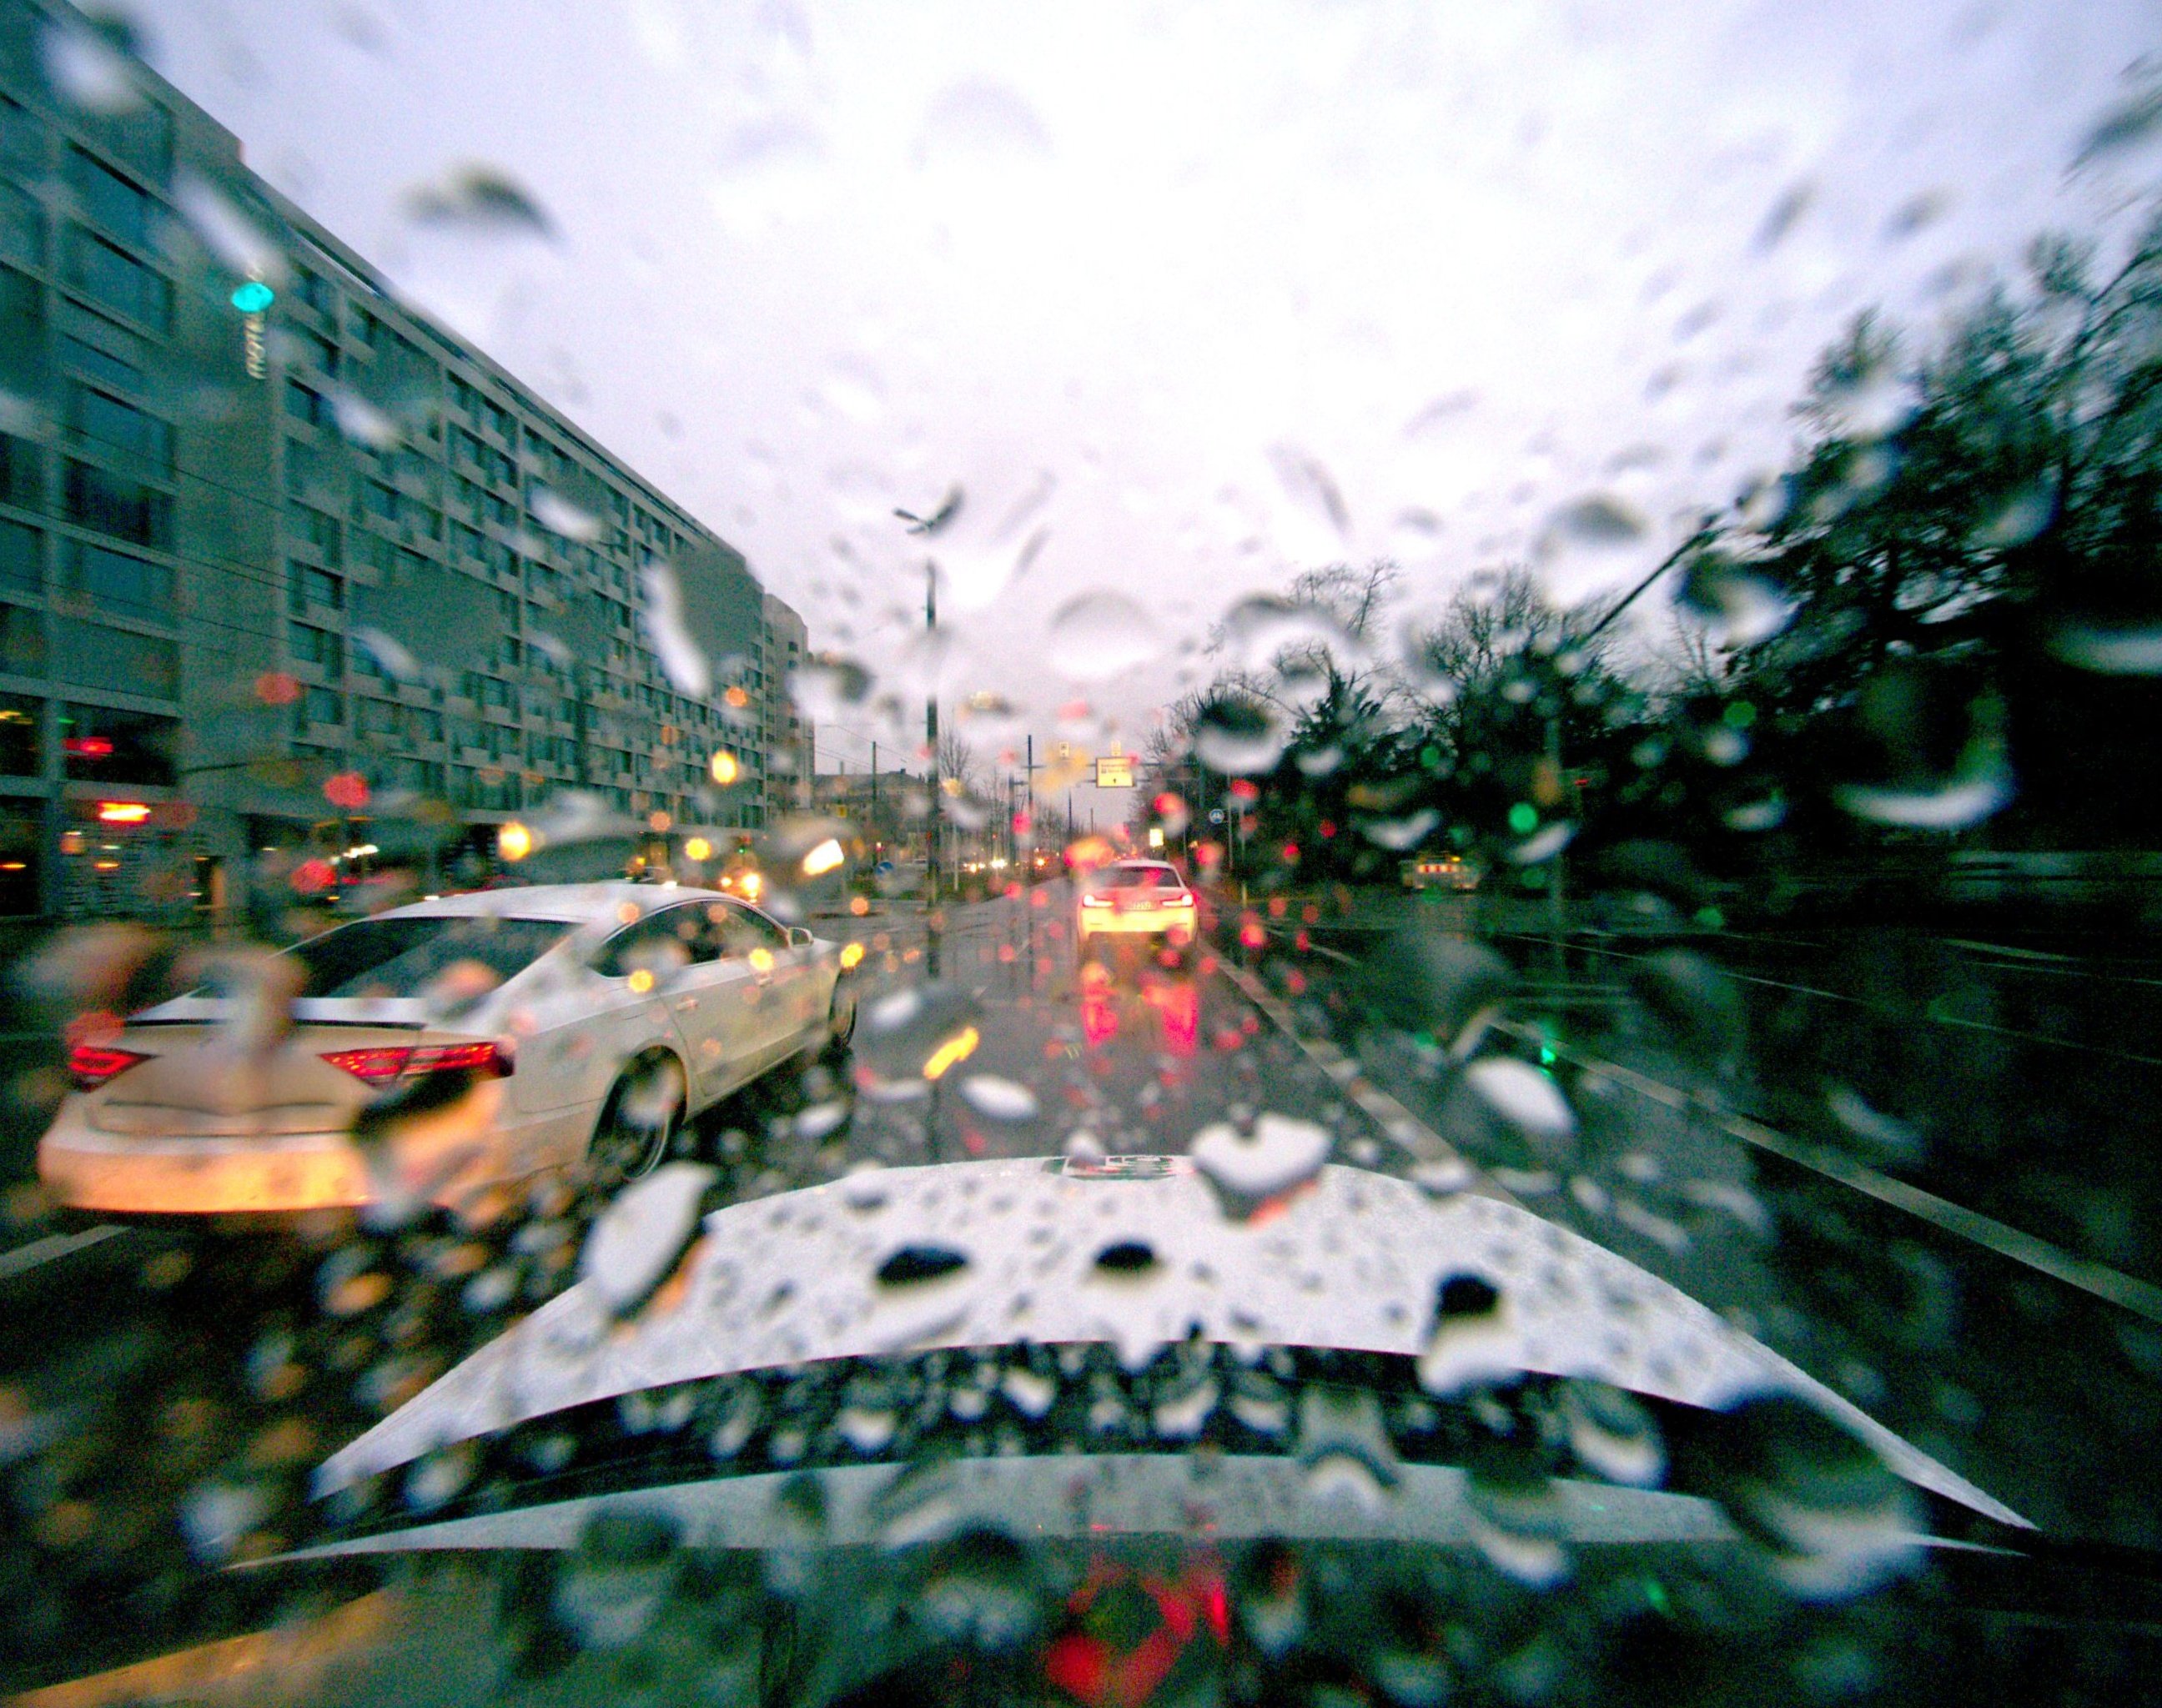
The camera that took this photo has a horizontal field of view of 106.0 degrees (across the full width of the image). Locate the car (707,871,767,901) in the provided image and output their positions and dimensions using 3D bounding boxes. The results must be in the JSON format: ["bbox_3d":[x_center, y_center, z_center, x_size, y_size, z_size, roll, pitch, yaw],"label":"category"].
[{"bbox_3d":[-18.582,1.678,44.198,1.995,1.462,5.074,0,0,-12],"label":"car"}]

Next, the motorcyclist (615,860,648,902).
[{"bbox_3d":[-20.343,1.194,36.874,0.867,1.885,1.034,0,-1,2],"label":"motorcyclist"}]

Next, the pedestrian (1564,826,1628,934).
[{"bbox_3d":[9.174,0.454,14.521,0.716,1.879,0.670,1,-1,-23],"label":"pedestrian"}]

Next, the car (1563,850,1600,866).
[{"bbox_3d":[65.556,0.540,106.757,3.950,2.014,2.012,0,-1,27],"label":"car"}]

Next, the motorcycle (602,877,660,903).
[{"bbox_3d":[-20.344,1.604,36.918,0.867,1.057,2.969,0,0,3],"label":"motorcycle"}]

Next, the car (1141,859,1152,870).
[{"bbox_3d":[12.110,1.982,150.686,1.985,2.014,4.002,0,-1,2],"label":"car"}]

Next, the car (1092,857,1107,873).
[{"bbox_3d":[2.466,1.451,108.602,1.985,2.014,4.002,0,-1,2],"label":"car"}]

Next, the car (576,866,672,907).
[{"bbox_3d":[-21.802,1.493,39.120,1.874,1.789,4.600,0,0,2],"label":"car"}]

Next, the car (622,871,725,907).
[{"bbox_3d":[-18.548,1.555,37.387,1.985,1.462,5.098,0,0,3],"label":"car"}]

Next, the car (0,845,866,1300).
[{"bbox_3d":[-2.754,0.726,4.782,1.753,1.470,4.252,0,0,1],"label":"car"}]

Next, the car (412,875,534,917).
[{"bbox_3d":[-25.611,1.733,34.509,1.872,1.574,4.006,0,0,6],"label":"car"}]

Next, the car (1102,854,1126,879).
[{"bbox_3d":[2.836,1.065,69.172,1.985,2.014,4.002,0,-1,2],"label":"car"}]

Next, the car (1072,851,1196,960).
[{"bbox_3d":[0.740,0.749,13.726,1.754,1.552,4.249,0,0,-1],"label":"car"}]
